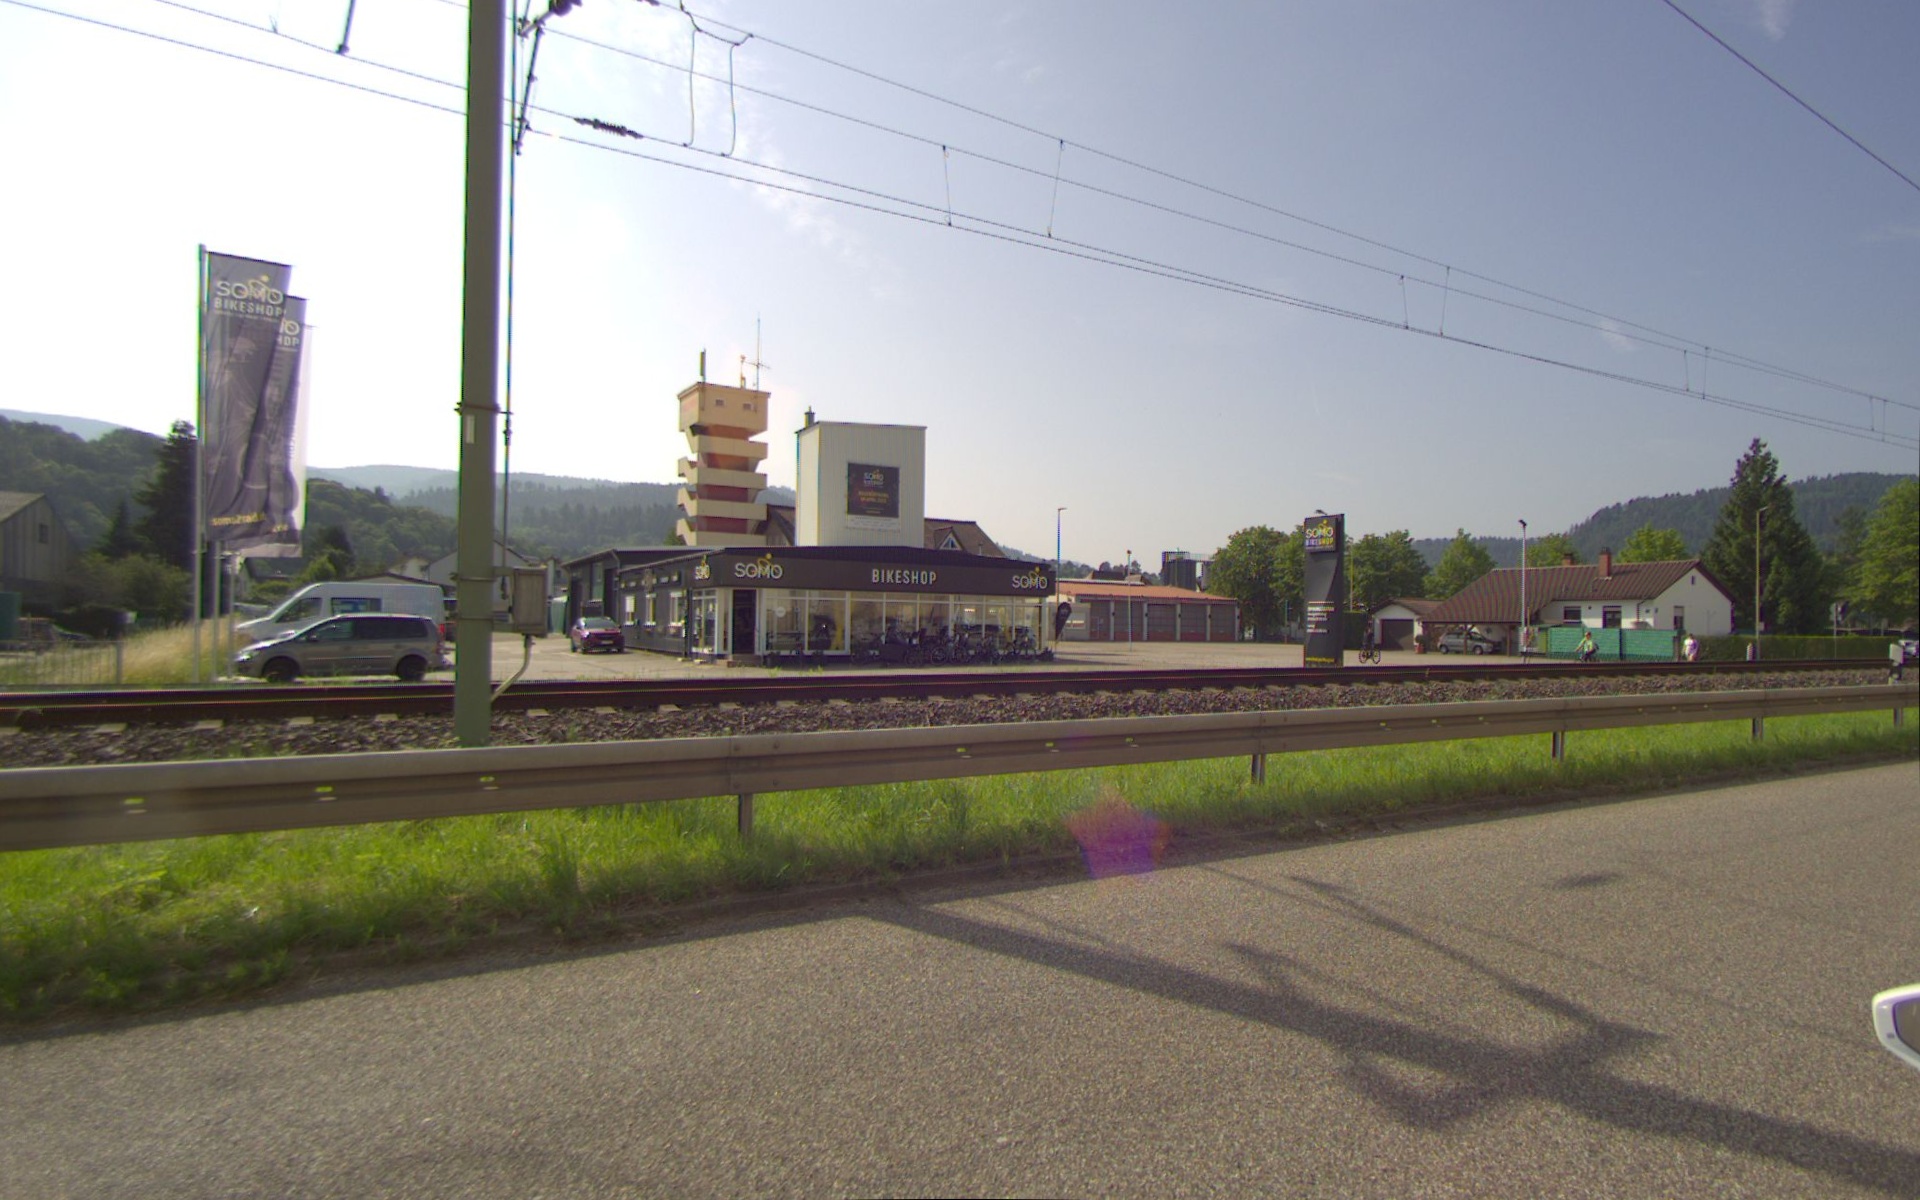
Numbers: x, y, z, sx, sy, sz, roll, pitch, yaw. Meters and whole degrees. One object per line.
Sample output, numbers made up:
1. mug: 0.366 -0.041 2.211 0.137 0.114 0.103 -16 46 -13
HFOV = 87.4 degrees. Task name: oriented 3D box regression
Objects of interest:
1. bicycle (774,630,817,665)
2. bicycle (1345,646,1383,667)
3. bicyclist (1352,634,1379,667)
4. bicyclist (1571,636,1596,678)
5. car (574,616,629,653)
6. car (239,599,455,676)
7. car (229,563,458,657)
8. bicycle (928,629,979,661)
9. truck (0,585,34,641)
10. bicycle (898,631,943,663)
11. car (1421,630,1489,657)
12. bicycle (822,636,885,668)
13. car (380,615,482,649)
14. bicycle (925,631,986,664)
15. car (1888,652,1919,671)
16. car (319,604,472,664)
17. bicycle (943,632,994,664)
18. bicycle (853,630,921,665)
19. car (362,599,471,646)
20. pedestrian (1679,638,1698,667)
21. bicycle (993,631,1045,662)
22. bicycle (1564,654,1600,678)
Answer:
1. bicycle: -5.692 1.618 34.649 0.722 1.145 2.157 2 -2 -30
2. bicycle: 20.530 2.878 51.023 1.937 1.030 0.752 1 -2 -27
3. bicyclist: 20.618 2.561 51.072 1.131 1.641 0.743 1 -2 -27
4. bicyclist: 25.421 2.325 40.954 0.823 1.668 0.529 1 -2 -32
5. car: -16.586 1.580 46.401 1.727 1.622 3.969 1 -2 -30
6. car: -14.757 0.910 24.354 4.326 1.711 1.509 2 0 -34
7. car: -20.016 0.424 32.913 6.096 2.667 2.359 4 -3 -33
8. bicycle: -0.270 1.697 38.227 0.724 1.145 2.149 2 -2 -40
9. truck: -44.510 0.495 44.627 4.596 2.456 1.981 4 -3 -34
10. bicycle: -1.481 1.748 37.440 0.722 1.145 2.157 2 -2 -30
11. car: 32.601 2.854 66.219 1.691 1.673 3.822 1 -2 -27
12. bicycle: -3.855 1.881 36.337 2.148 1.145 0.725 2 -2 -29
13. car: -23.920 1.446 45.479 4.023 1.461 1.571 2 -2 -30
14. bicycle: -0.137 1.716 36.384 2.151 1.145 0.724 2 -2 -32
15. car: 88.683 5.735 93.698 1.655 1.664 3.853 0 -2 20
16. car: -17.468 1.060 31.123 3.959 1.685 1.856 3 -3 -34
17. bicycle: 0.319 1.837 38.756 0.724 1.145 2.149 2 -2 -40
18. bicycle: -2.526 1.649 34.907 2.275 1.145 0.730 1 -1 4
19. car: -27.293 1.149 50.520 4.708 2.240 1.984 2 -2 -30
20. pedestrian: 34.444 2.488 47.492 0.667 1.349 0.569 2 -2 -35
21. bicycle: 2.265 1.793 38.737 0.724 1.145 2.149 2 -2 -40
22. bicycle: 25.325 2.692 40.884 1.691 0.935 0.542 2 -2 -32
